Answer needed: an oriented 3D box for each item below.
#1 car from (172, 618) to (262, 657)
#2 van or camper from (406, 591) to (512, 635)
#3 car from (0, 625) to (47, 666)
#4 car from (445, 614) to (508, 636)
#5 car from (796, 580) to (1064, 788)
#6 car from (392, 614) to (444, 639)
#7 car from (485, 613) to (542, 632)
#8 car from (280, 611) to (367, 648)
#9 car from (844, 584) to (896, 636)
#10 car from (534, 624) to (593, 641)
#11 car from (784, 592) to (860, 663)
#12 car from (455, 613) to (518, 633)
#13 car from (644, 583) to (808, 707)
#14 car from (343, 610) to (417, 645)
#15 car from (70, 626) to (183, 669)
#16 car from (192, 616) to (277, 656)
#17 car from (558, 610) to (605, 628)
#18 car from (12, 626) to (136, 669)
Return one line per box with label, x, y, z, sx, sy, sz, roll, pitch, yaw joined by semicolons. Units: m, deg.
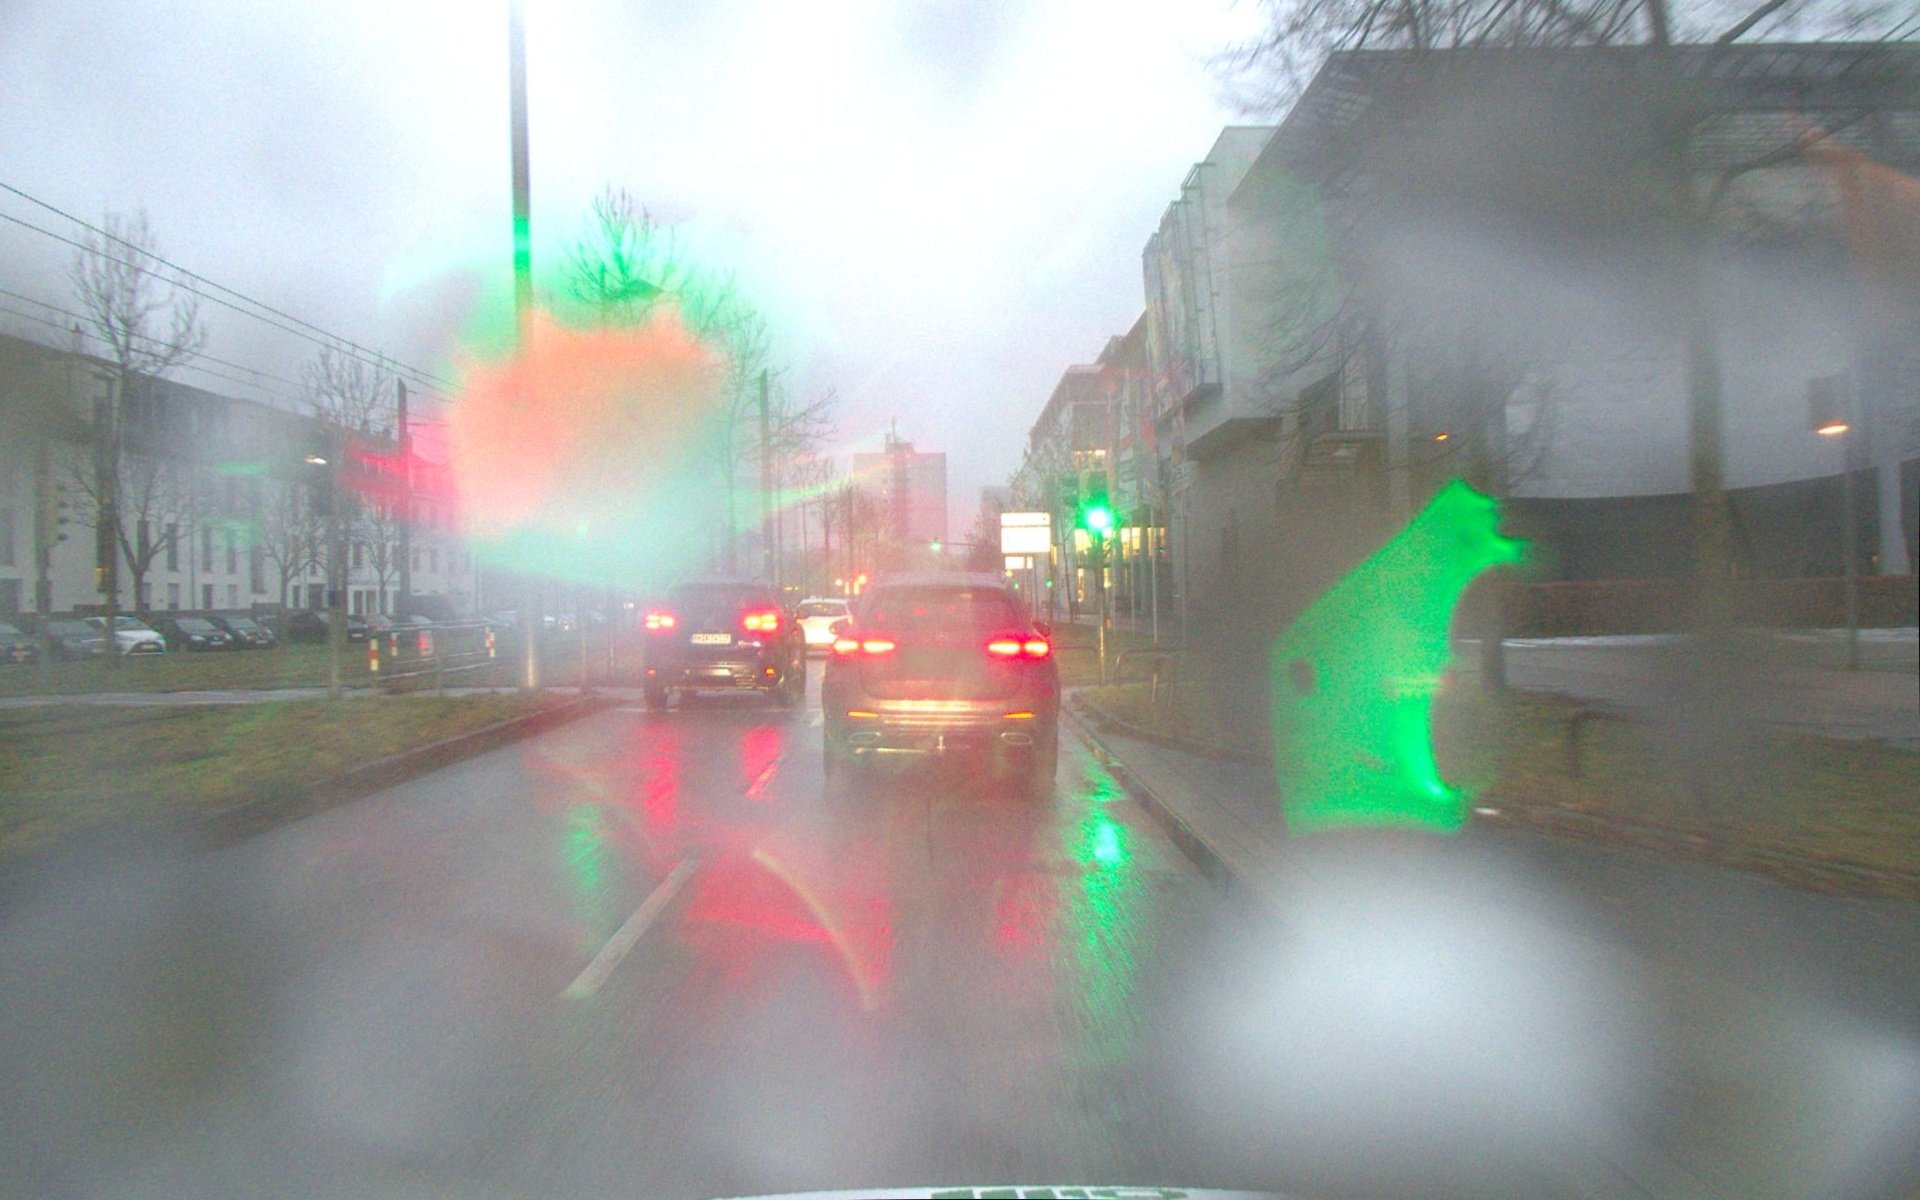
car;-27.712;1.375;61.682;2.874;1.359;1.733;1;0;32
van or camper;-28.955;0.747;95.475;6.736;2.401;1.994;1;0;33
car;-27.923;1.304;48.107;2.341;1.067;1.433;1;1;32
car;-29.292;1.495;100.182;3.464;1.233;1.744;1;0;31
car;-0.254;0.633;14.030;1.953;1.509;3.699;1;0;-1
car;-28.678;1.393;87.503;2.835;1.225;1.381;1;0;41
car;-28.696;1.417;106.380;3.345;1.167;1.688;1;0;31
car;-28.570;1.307;74.203;4.078;1.568;1.664;1;0;35
car;-3.193;0.369;58.949;1.628;1.790;3.567;1;-1;0
car;-28.656;2.327;119.597;4.098;1.135;1.678;1;0;30
car;-3.395;0.652;41.100;1.655;1.664;3.473;1;0;-1
car;-29.380;1.421;102.618;3.464;1.221;1.878;1;0;31
car;-3.017;0.550;22.061;1.781;1.476;3.998;1;0;-3
car;-28.387;1.317;80.917;3.778;1.616;1.733;1;0;41
car;-27.435;1.542;54.422;3.766;1.267;1.732;1;0;35
car;-28.310;1.386;64.501;3.320;1.446;1.662;1;0;38
car;-29.069;1.442;127.088;3.691;1.360;1.448;-1;0;35
car;-27.540;1.457;51.399;3.740;1.193;1.733;1;0;32
